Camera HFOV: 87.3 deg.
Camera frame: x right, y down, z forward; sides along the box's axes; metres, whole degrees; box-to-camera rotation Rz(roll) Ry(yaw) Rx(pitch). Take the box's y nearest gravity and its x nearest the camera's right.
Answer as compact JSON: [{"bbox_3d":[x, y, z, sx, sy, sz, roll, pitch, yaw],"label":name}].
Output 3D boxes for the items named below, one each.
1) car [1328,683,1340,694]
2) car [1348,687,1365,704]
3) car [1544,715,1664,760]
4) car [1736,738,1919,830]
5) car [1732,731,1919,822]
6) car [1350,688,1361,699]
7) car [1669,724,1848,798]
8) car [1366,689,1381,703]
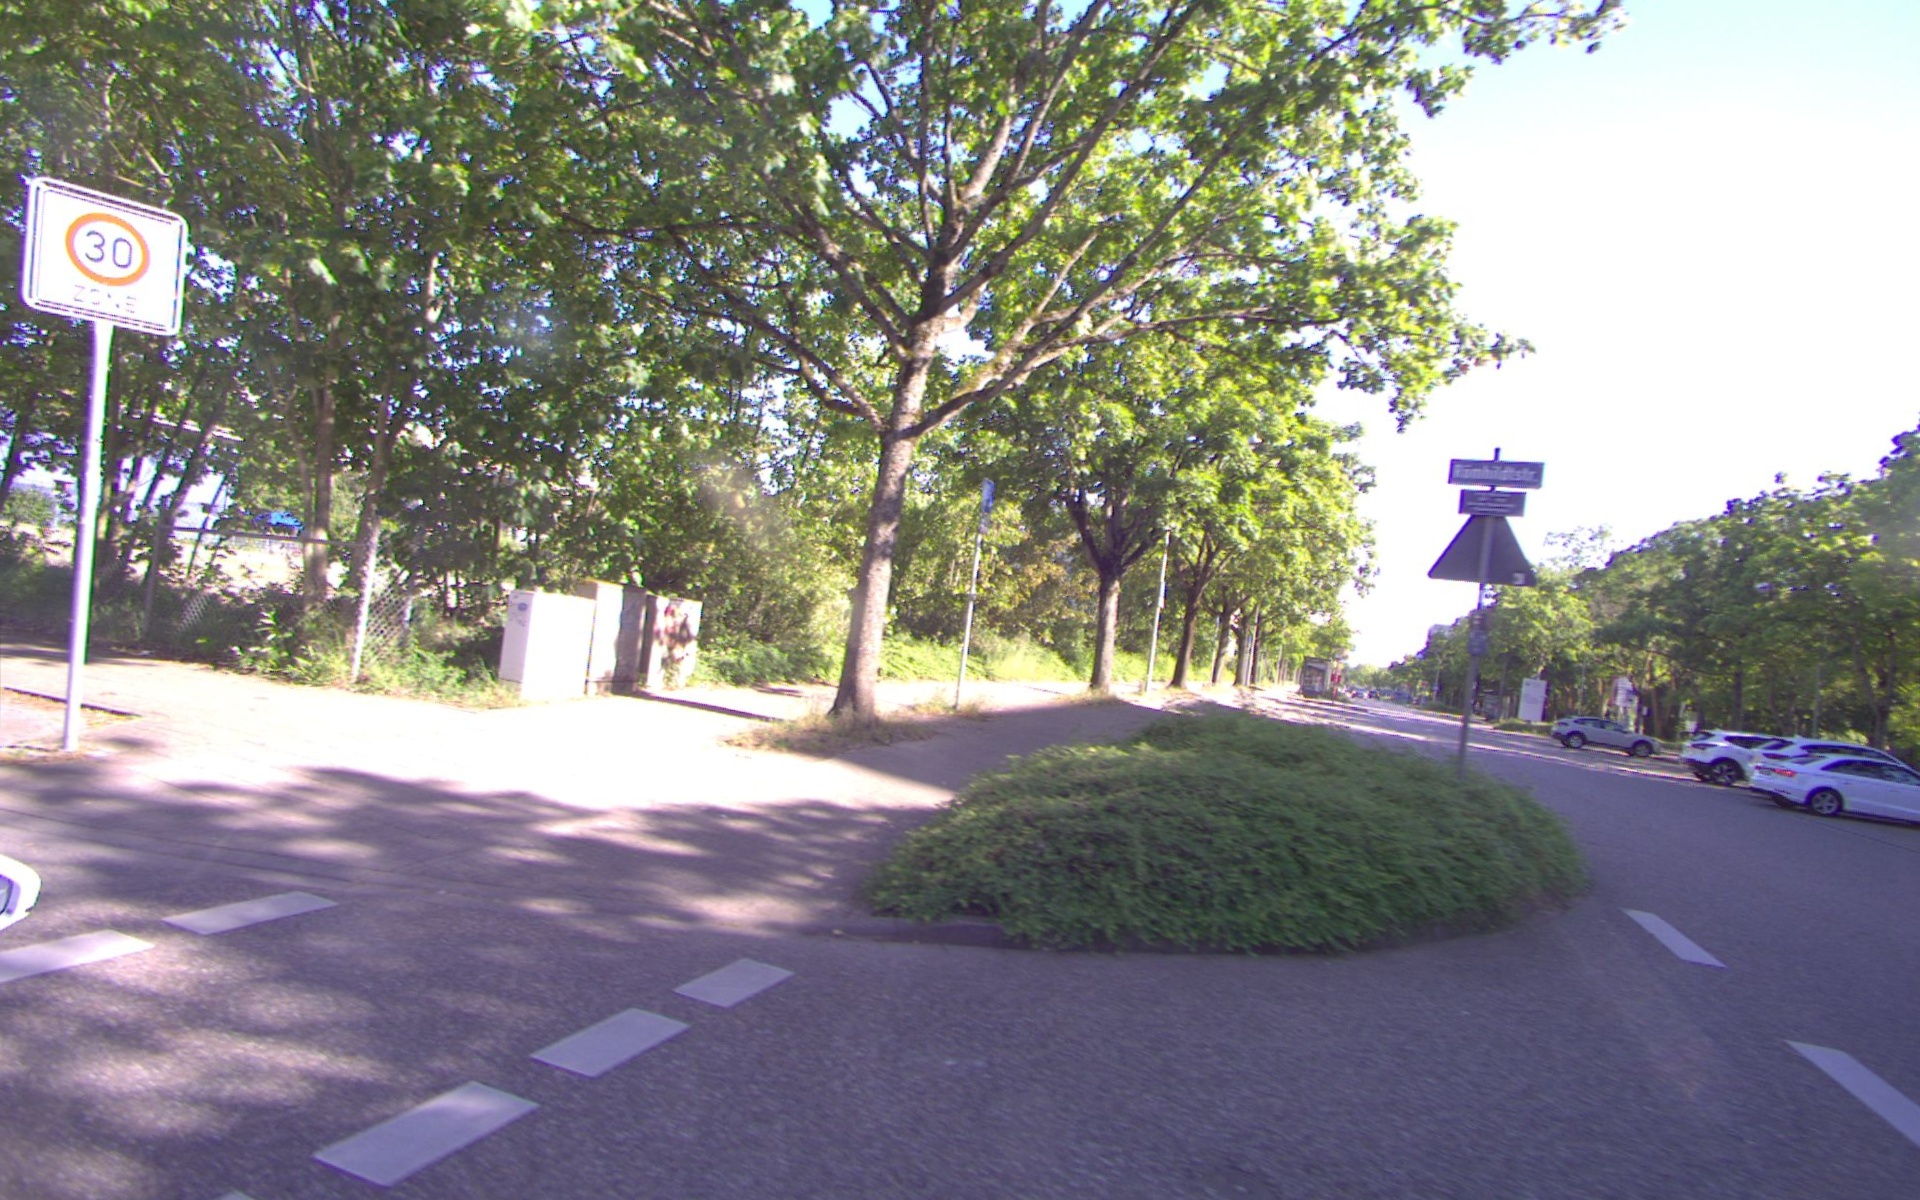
[{"bbox_3d":[72.404,17.099,194.633,1.963,1.822,4.003,9,-1,21],"label":"car"},{"bbox_3d":[51.008,12.267,129.415,1.800,1.796,3.742,9,-1,21],"label":"car"},{"bbox_3d":[28.887,6.158,45.285,4.101,1.445,2.001,5,-2,21],"label":"car"},{"bbox_3d":[20.350,4.182,22.531,4.276,1.507,1.739,5,-2,19],"label":"car"},{"bbox_3d":[22.047,4.367,24.767,4.366,1.667,1.817,5,-2,19],"label":"car"},{"bbox_3d":[89.802,21.181,228.366,1.964,2.037,4.001,8,-1,24],"label":"car"},{"bbox_3d":[23.207,4.661,29.395,3.632,1.540,1.651,5,-2,19],"label":"car"},{"bbox_3d":[71.969,16.663,175.135,1.963,2.037,4.002,9,-1,21],"label":"car"}]
